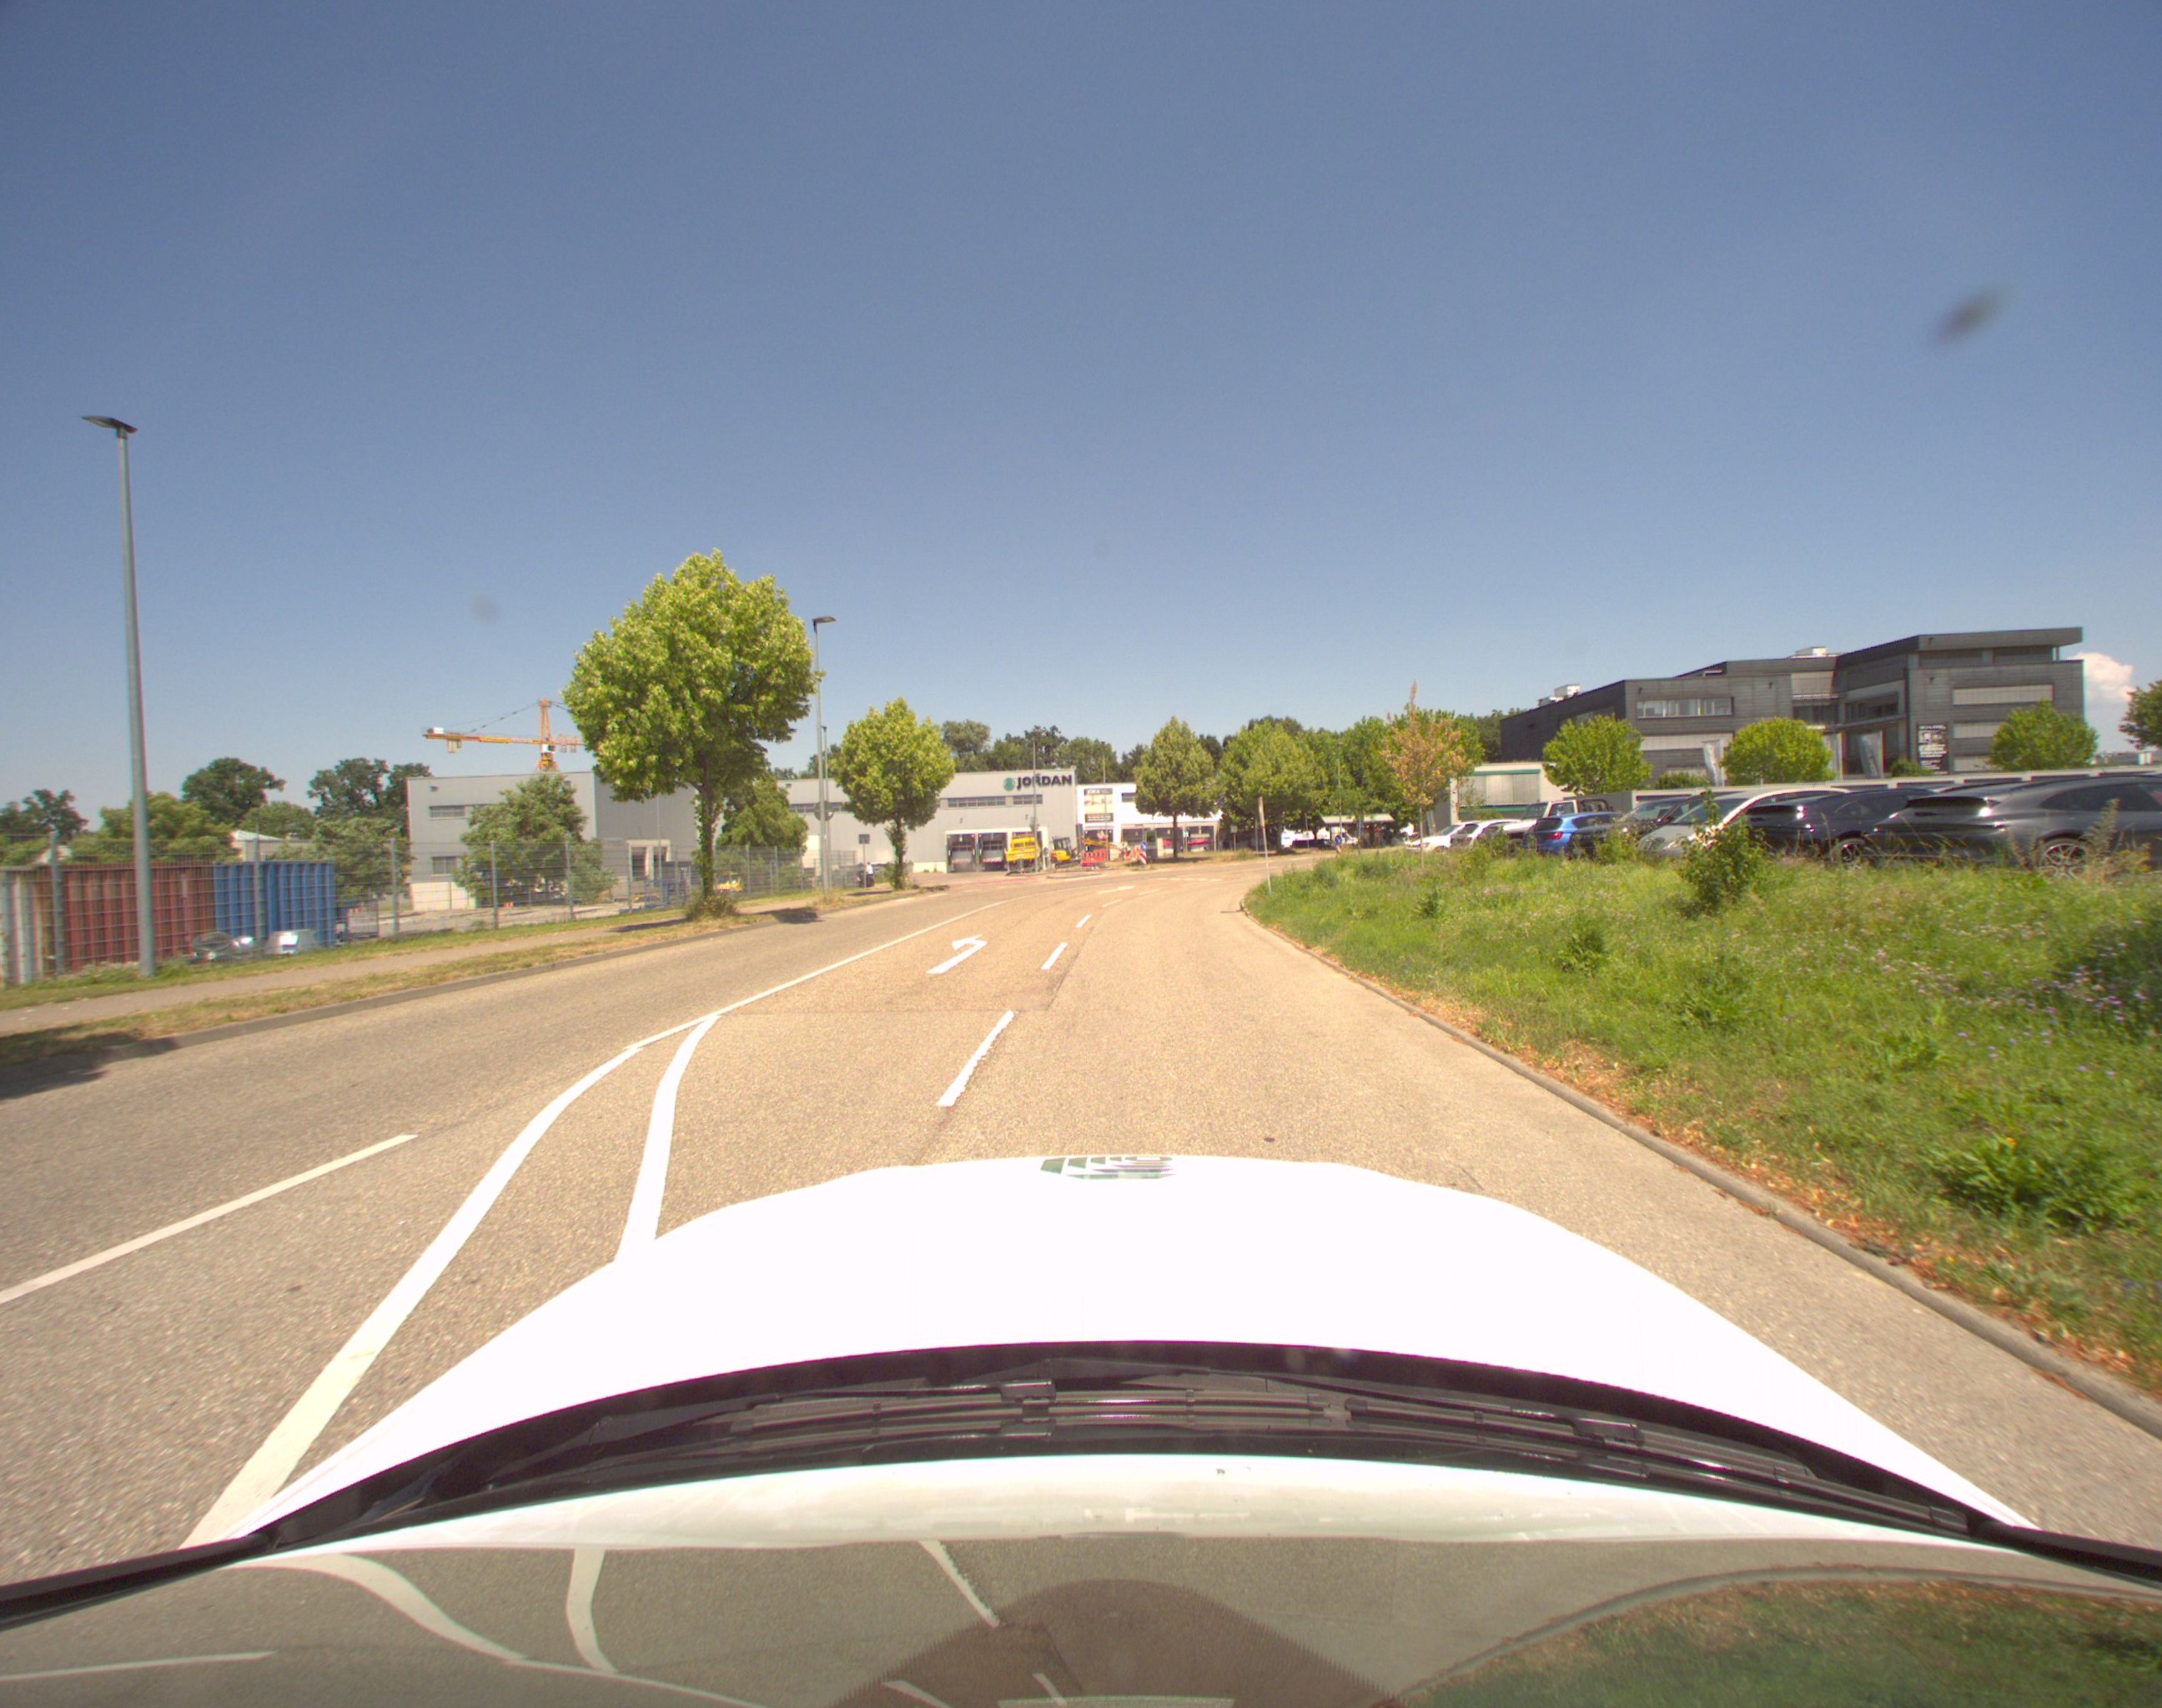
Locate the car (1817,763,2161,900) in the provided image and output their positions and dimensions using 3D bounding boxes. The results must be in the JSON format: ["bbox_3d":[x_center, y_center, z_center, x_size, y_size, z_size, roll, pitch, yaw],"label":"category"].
[{"bbox_3d":[12.727,-0.360,10.459,4.682,1.400,1.925,-4,4,4],"label":"car"}]

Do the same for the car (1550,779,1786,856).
[{"bbox_3d":[13.315,-0.857,18.623,4.150,1.400,1.769,-4,4,-1],"label":"car"}]

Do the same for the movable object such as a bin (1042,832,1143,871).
[{"bbox_3d":[1.003,-0.200,66.019,7.478,2.499,3.678,-3,4,10],"label":"movable object such as a bin"}]

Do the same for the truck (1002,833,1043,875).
[{"bbox_3d":[-4.787,-0.078,65.873,2.934,2.885,5.800,-4,4,-5],"label":"truck"}]

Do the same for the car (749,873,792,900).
[{"bbox_3d":[-24.530,2.534,64.509,1.990,1.551,3.996,-4,4,-4],"label":"car"}]

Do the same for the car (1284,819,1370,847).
[{"bbox_3d":[22.106,-1.855,73.389,7.136,2.088,2.003,-3,0,5],"label":"car"}]

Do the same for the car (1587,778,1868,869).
[{"bbox_3d":[12.532,-0.627,15.952,4.150,1.400,1.769,-4,4,-1],"label":"car"}]

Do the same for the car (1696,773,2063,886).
[{"bbox_3d":[12.476,-0.423,12.914,4.150,1.400,1.769,-4,4,-1],"label":"car"}]

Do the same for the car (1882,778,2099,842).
[{"bbox_3d":[24.494,-1.208,22.033,3.975,1.400,1.769,-4,4,-1],"label":"car"}]

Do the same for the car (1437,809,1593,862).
[{"bbox_3d":[14.154,-0.637,26.705,4.150,1.400,1.769,-4,4,-1],"label":"car"}]

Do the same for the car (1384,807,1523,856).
[{"bbox_3d":[13.280,-0.820,29.176,4.150,1.400,1.769,-4,4,-1],"label":"car"}]

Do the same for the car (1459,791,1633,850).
[{"bbox_3d":[13.650,-1.017,24.063,4.150,1.400,1.769,-4,4,-1],"label":"car"}]

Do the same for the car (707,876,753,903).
[{"bbox_3d":[-27.547,2.764,64.125,1.990,1.551,3.996,-4,4,-4],"label":"car"}]

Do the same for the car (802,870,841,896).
[{"bbox_3d":[-20.624,2.242,64.886,1.990,1.551,3.996,-4,4,-4],"label":"car"}]

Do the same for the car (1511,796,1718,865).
[{"bbox_3d":[13.526,-0.627,20.796,4.150,1.400,1.769,-4,4,-1],"label":"car"}]

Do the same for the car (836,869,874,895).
[{"bbox_3d":[-17.980,2.176,64.970,1.990,1.551,3.996,-4,4,-4],"label":"car"}]
